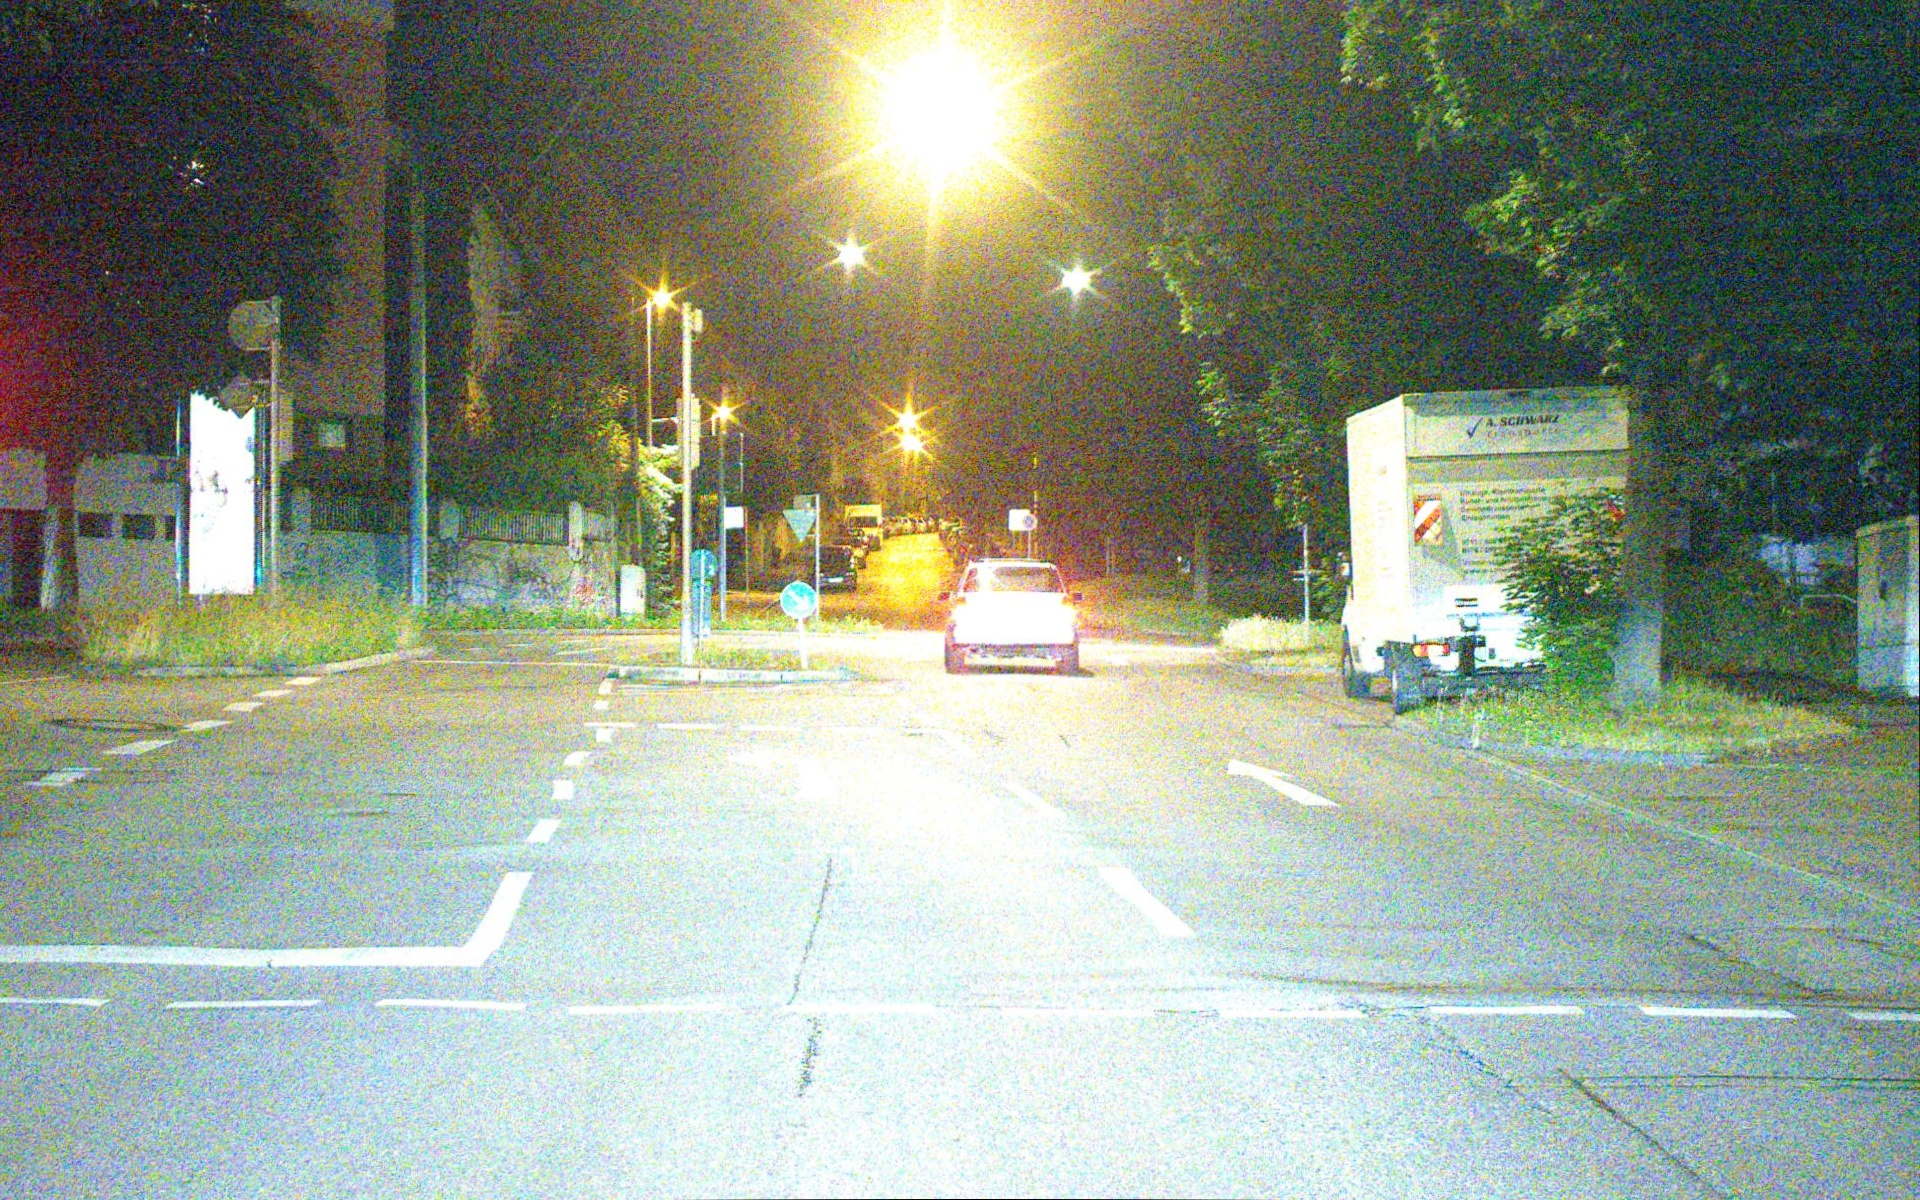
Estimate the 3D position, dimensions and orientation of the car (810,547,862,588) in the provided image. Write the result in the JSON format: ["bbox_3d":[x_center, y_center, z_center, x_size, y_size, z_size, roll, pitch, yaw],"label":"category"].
[{"bbox_3d":[-4.835,-1.276,134.401,1.908,1.552,3.904,1,1,-1],"label":"car"}]

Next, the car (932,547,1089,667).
[{"bbox_3d":[0.617,0.067,44.878,1.776,1.481,4.000,1,1,-3],"label":"car"}]

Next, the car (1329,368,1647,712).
[{"bbox_3d":[5.124,-0.581,34.229,2.297,3.082,5.840,-1,1,1],"label":"car"}]
